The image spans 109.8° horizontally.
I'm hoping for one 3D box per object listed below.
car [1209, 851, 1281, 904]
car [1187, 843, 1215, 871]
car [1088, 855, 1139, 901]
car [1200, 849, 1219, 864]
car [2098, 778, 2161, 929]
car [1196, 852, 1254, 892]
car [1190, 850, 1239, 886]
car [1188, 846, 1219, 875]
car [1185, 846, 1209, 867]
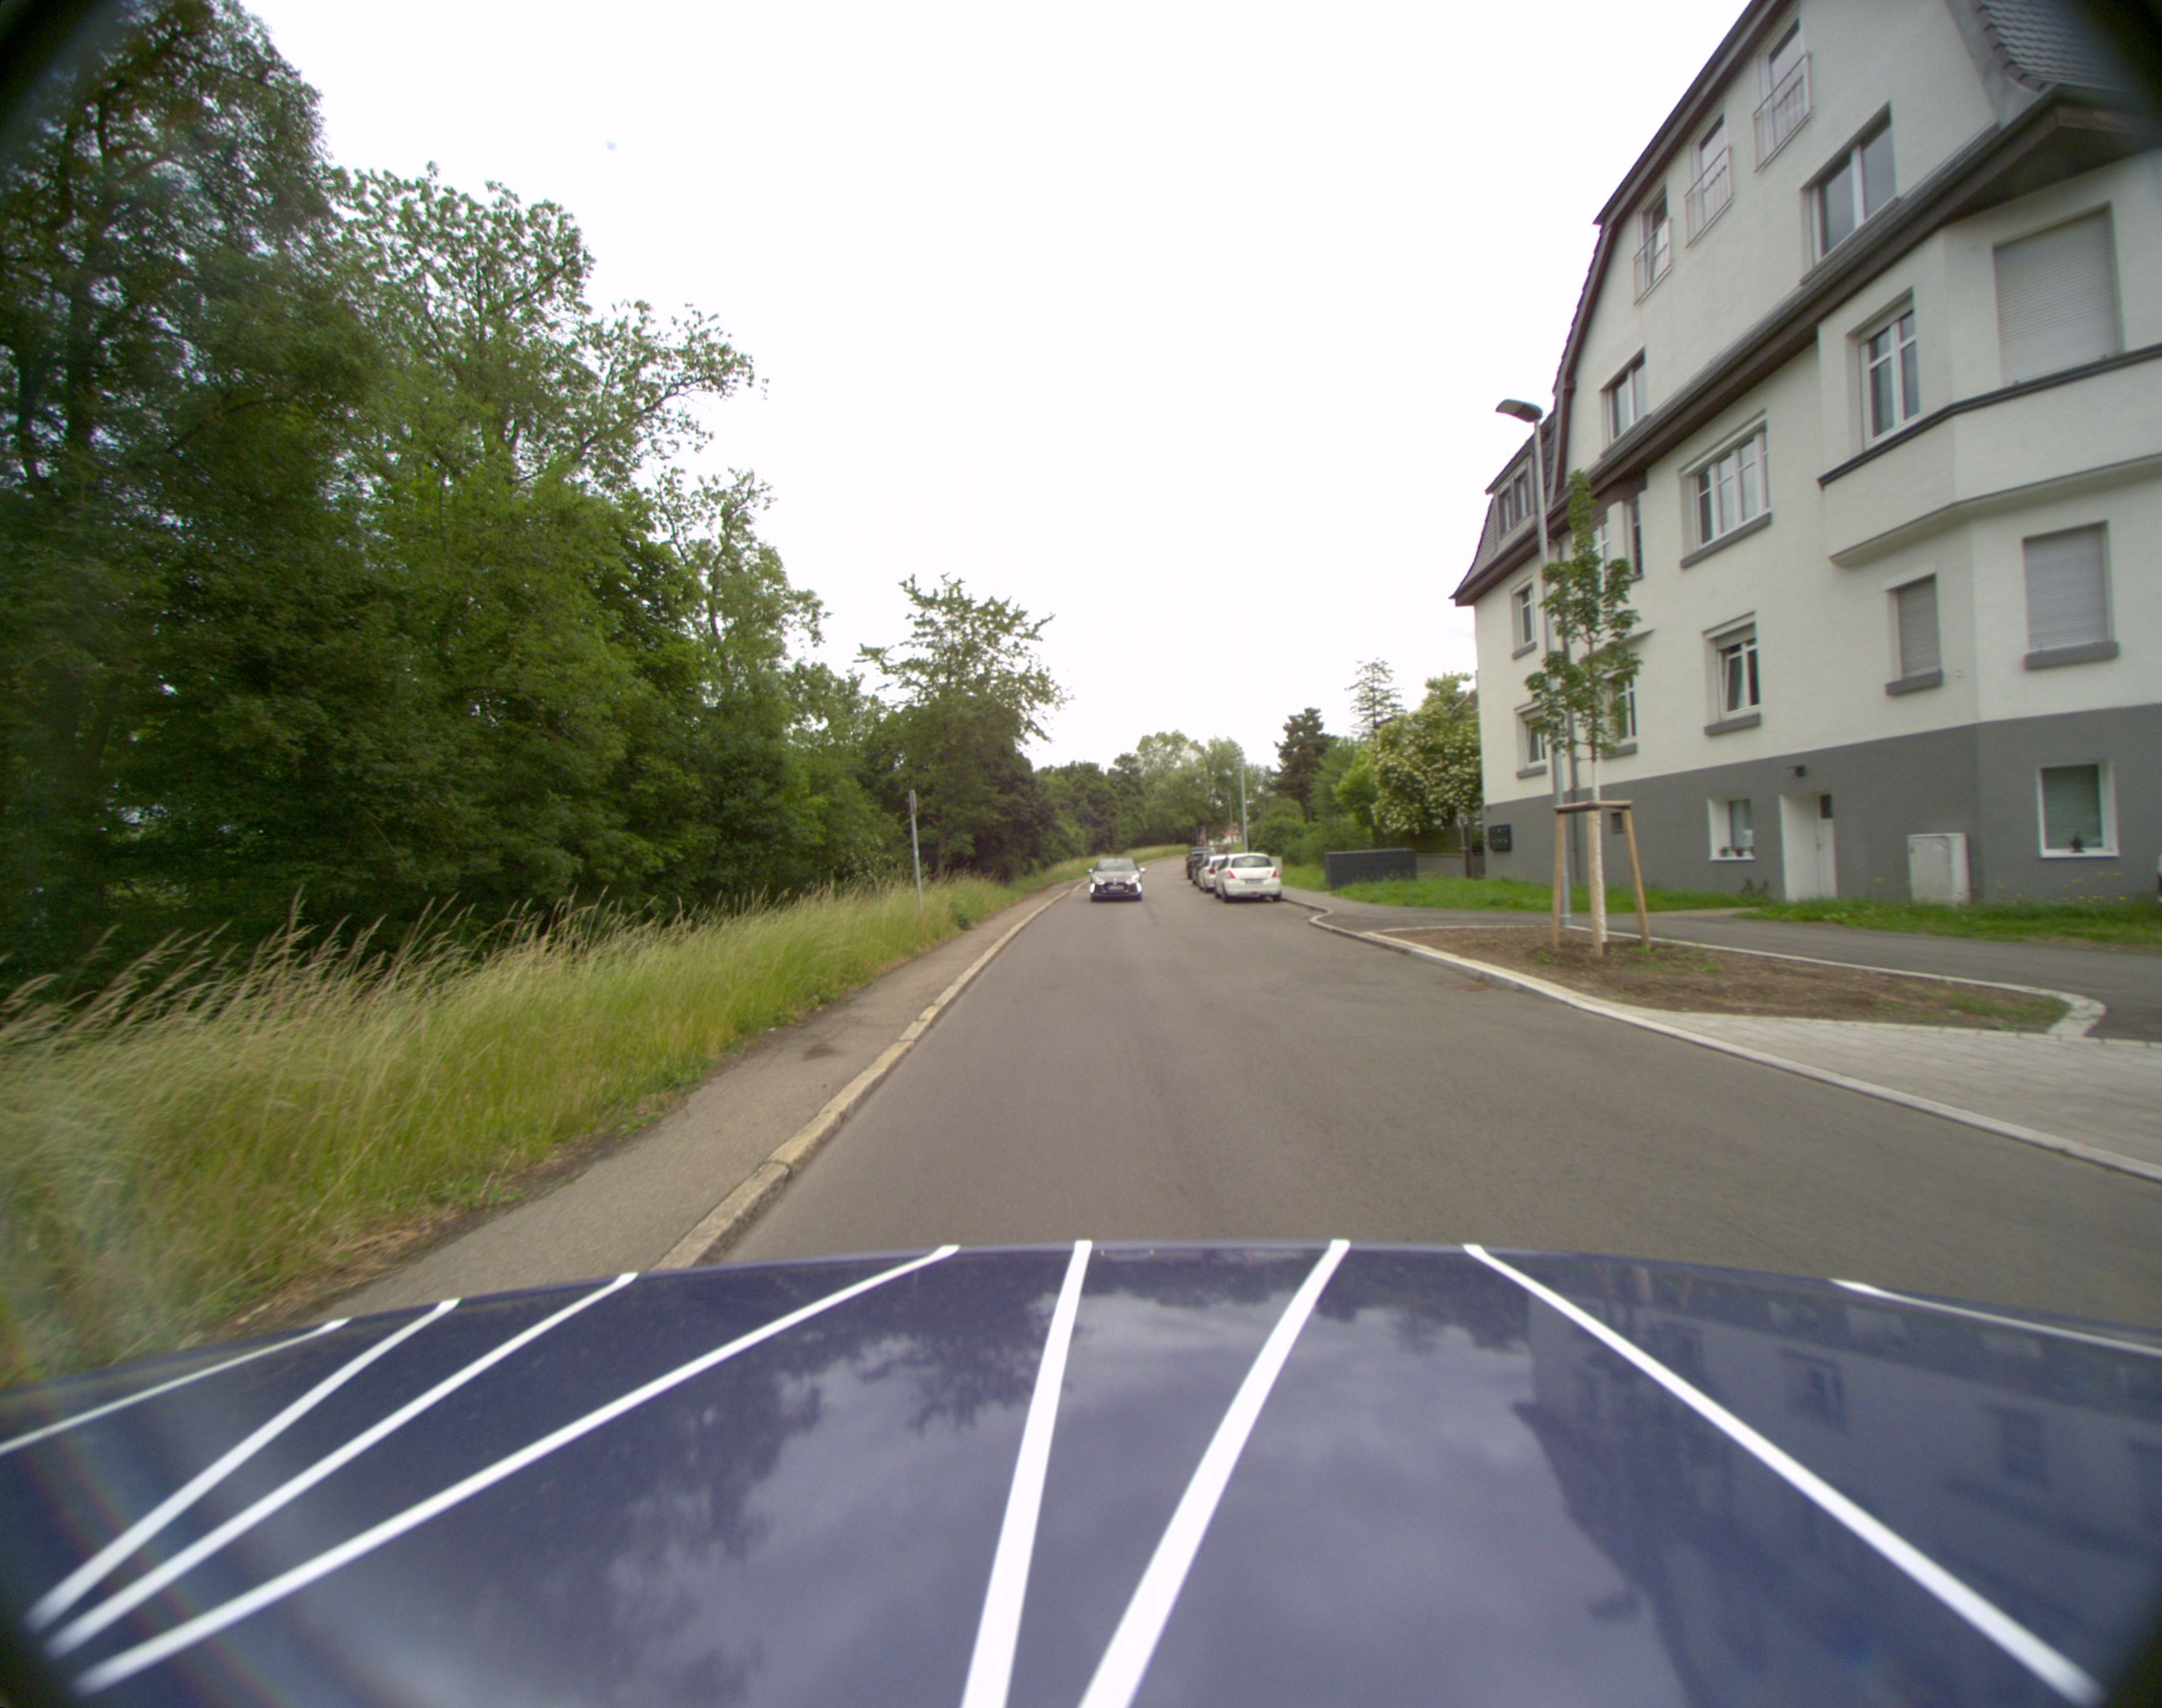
[{"bbox_3d":[5.142,0.684,24.294,1.646,1.461,4.071,-1,1,3],"label":"car"},{"bbox_3d":[8.256,0.161,52.454,1.799,1.790,4.066,-1,1,8],"label":"car"},{"bbox_3d":[1.188,0.780,26.277,1.619,1.460,4.001,0,0,4],"label":"car"},{"bbox_3d":[12.829,0.242,75.701,1.735,1.420,3.460,-1,1,12],"label":"car"},{"bbox_3d":[12.116,-0.042,5.973,1.911,1.524,4.595,-6,1,-4],"label":"car"},{"bbox_3d":[5.596,0.651,30.053,1.728,1.382,4.727,-1,1,4],"label":"car"},{"bbox_3d":[6.125,0.593,35.342,1.730,1.564,4.816,0,0,3],"label":"car"},{"bbox_3d":[7.035,0.346,43.935,1.665,1.573,4.079,-1,1,7],"label":"car"},{"bbox_3d":[8.852,0.169,57.763,1.664,1.497,4.047,-1,1,10],"label":"car"}]
